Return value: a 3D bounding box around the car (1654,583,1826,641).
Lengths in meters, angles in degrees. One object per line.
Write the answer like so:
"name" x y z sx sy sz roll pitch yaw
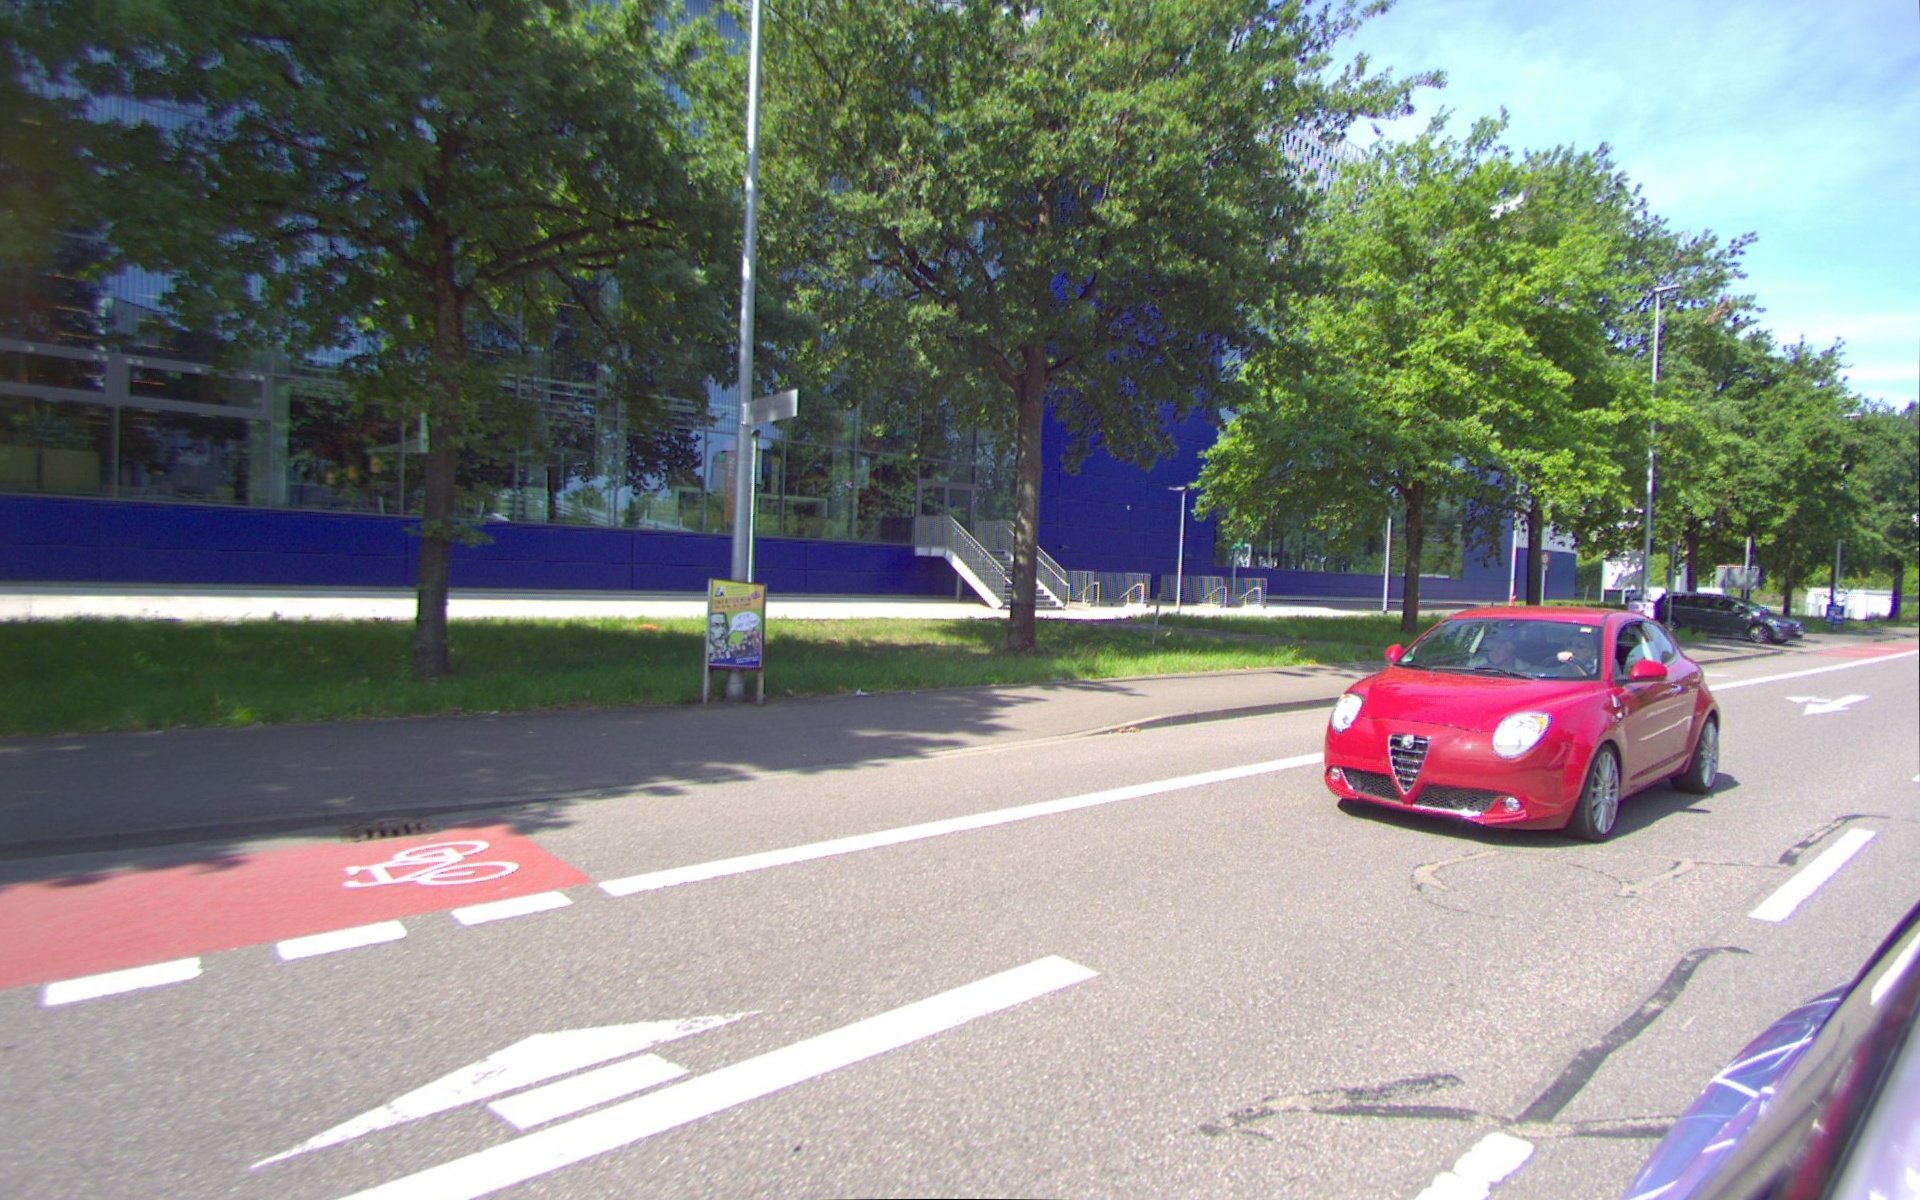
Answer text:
"car" 27.828 0.386 36.253 1.808 1.714 4.463 1 3 -33

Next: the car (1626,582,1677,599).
"car" 71.066 -0.992 104.112 1.818 1.660 4.311 1 1 -9

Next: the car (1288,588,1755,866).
"car" 4.279 0.670 7.459 3.910 1.472 1.797 0 2 -41
